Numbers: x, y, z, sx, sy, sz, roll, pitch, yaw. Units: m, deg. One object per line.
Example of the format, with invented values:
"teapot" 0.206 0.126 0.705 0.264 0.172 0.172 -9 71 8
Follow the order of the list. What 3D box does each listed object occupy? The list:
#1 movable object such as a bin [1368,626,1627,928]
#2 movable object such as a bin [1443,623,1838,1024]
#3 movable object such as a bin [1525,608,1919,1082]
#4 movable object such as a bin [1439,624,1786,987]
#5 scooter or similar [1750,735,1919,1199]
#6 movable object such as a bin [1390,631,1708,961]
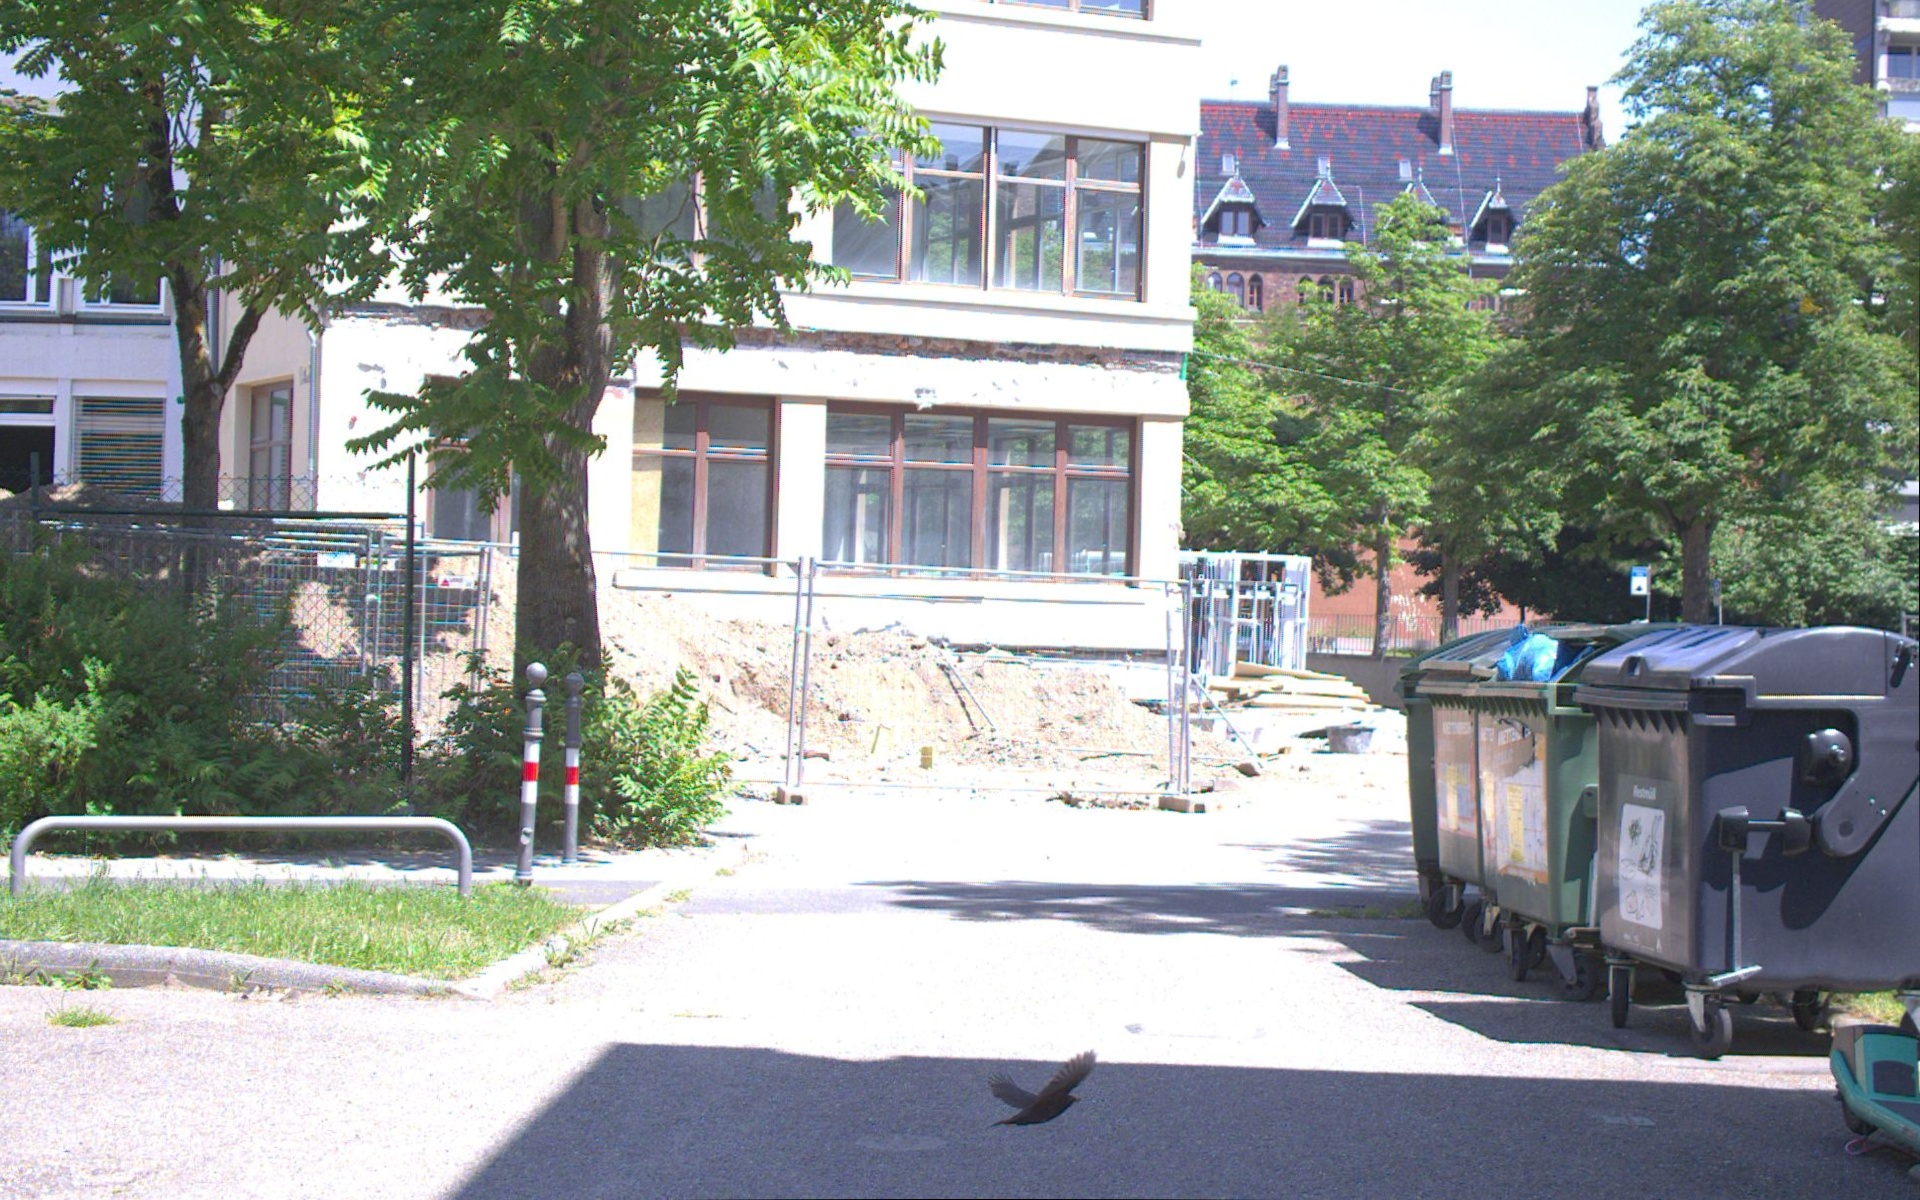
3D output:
"movable object such as a bin" 2.828 0.904 17.964 1.179 1.465 1.332 2 -1 14
"movable object such as a bin" 2.659 0.854 13.603 1.179 1.465 1.311 3 -1 -4
"movable object such as a bin" 2.746 0.811 11.863 1.155 1.500 1.463 3 -1 -7
"movable object such as a bin" 2.811 0.870 14.982 1.179 1.465 1.311 2 -1 -2
"scooter or similar" 2.562 0.972 9.098 0.463 1.170 1.357 2 -1 -6
"movable object such as a bin" 2.788 0.910 16.425 1.179 1.465 1.311 3 -1 -3
